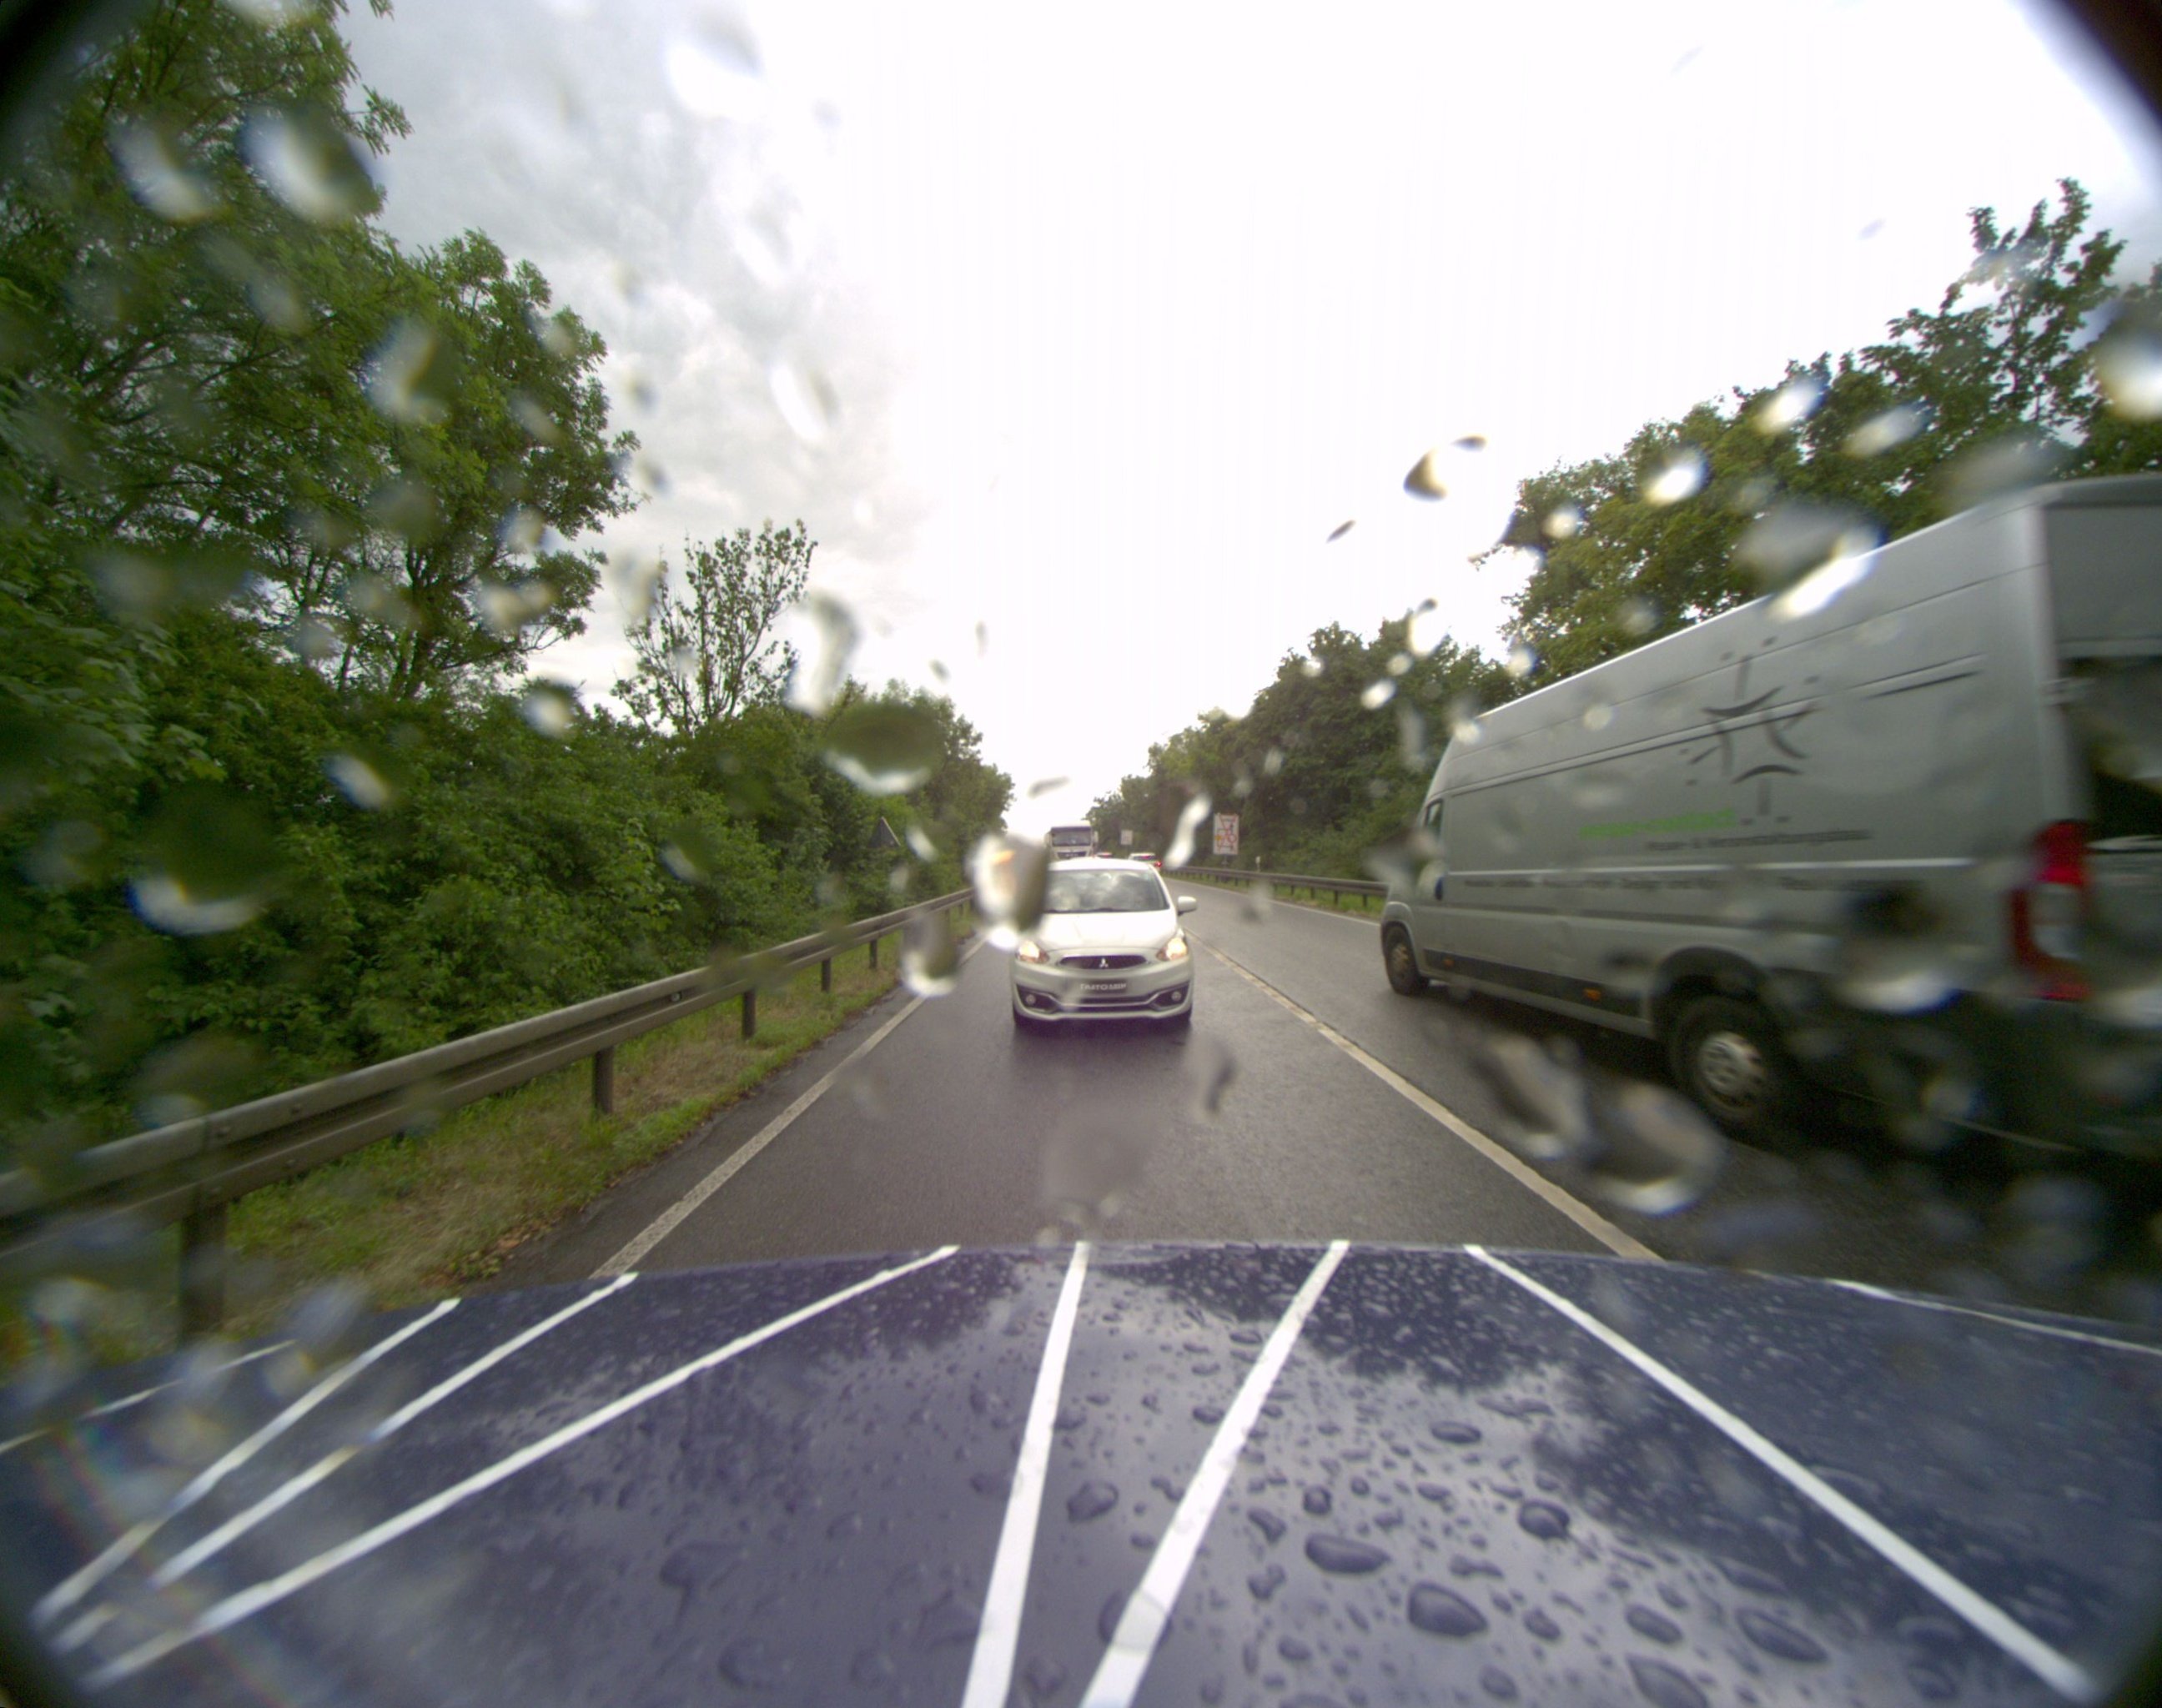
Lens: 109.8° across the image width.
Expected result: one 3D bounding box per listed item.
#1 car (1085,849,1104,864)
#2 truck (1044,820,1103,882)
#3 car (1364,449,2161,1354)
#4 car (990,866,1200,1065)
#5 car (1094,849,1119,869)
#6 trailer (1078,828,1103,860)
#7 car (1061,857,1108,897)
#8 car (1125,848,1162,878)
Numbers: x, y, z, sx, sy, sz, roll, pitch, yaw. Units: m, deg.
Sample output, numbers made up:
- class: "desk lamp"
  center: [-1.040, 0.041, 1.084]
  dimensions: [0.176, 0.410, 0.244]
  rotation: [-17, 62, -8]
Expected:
- class: "car"
  center: [1.453, 0.258, 82.191]
  dimensions: [1.712, 1.507, 3.911]
  rotation: [-2, 1, -3]
- class: "truck"
  center: [-0.529, -0.230, 46.692]
  dimensions: [3.136, 3.364, 9.281]
  rotation: [-2, 1, -1]
- class: "car"
  center: [4.176, 0.086, 5.316]
  dimensions: [2.053, 2.661, 6.170]
  rotation: [-2, 1, 0]
- class: "car"
  center: [0.107, 0.915, 8.117]
  dimensions: [1.610, 1.435, 4.208]
  rotation: [-2, 0, 0]
- class: "car"
  center: [2.196, 0.442, 67.587]
  dimensions: [1.852, 1.634, 4.297]
  rotation: [-2, 0, -2]
- class: "trailer"
  center: [1.106, -1.281, 95.070]
  dimensions: [2.543, 3.803, 7.788]
  rotation: [-2, 1, -3]
- class: "car"
  center: [0.151, 0.842, 29.921]
  dimensions: [1.640, 1.413, 4.491]
  rotation: [-2, 0, 1]
- class: "car"
  center: [3.565, 0.485, 44.207]
  dimensions: [1.696, 1.547, 4.441]
  rotation: [-2, 1, -1]
